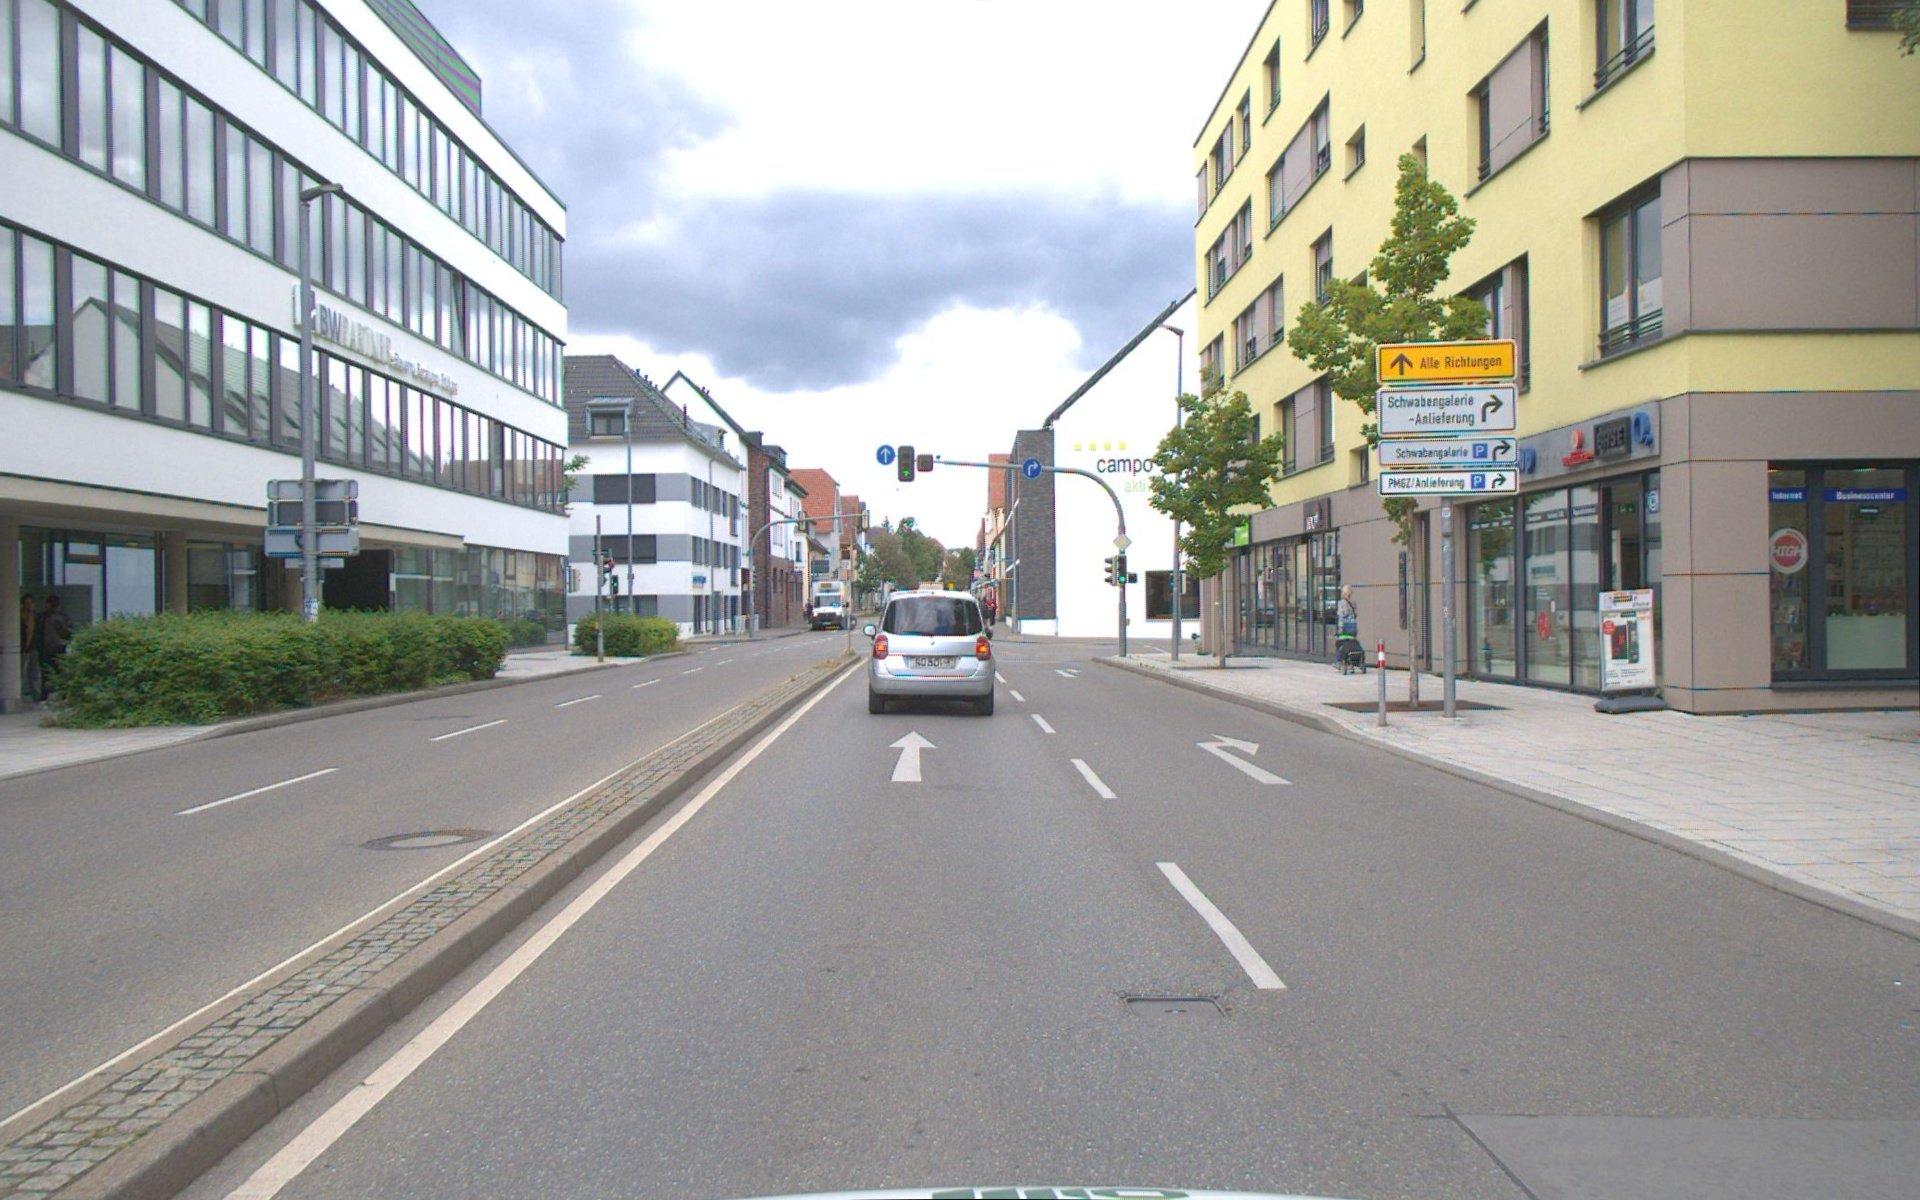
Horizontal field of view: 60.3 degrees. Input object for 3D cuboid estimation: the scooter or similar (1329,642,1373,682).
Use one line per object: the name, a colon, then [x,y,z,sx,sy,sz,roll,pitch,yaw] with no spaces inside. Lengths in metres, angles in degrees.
scooter or similar: [7.132,1.130,30.193,0.580,0.684,0.824,-2,0,-2]

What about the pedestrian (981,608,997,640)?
pedestrian: [1.678,1.407,96.225,0.791,1.818,0.861,-3,0,0]

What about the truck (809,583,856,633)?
truck: [-8.025,0.509,104.878,2.385,3.005,8.362,-1,0,-1]

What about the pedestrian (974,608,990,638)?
pedestrian: [1.394,1.459,104.379,0.871,1.818,0.785,-3,0,0]

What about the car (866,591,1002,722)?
car: [-0.355,0.705,22.599,1.672,1.606,3.999,1,0,-1]

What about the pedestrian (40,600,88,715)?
pedestrian: [-13.754,0.873,25.387,0.607,1.740,0.501,-1,-1,-31]

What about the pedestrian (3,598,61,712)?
pedestrian: [-14.483,0.850,25.819,0.495,1.760,0.614,-1,-1,30]

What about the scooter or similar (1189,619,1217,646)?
scooter or similar: [11.455,1.533,77.958,1.205,1.257,0.406,1,0,0]

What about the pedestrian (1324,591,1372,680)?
pedestrian: [7.247,0.665,30.918,0.681,1.621,0.603,-2,0,-2]

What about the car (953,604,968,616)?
car: [0.105,1.277,204.952,1.776,1.378,4.000,-2,0,0]

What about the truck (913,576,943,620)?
truck: [-2.866,-0.193,150.083,2.542,3.925,6.848,0,0,0]
